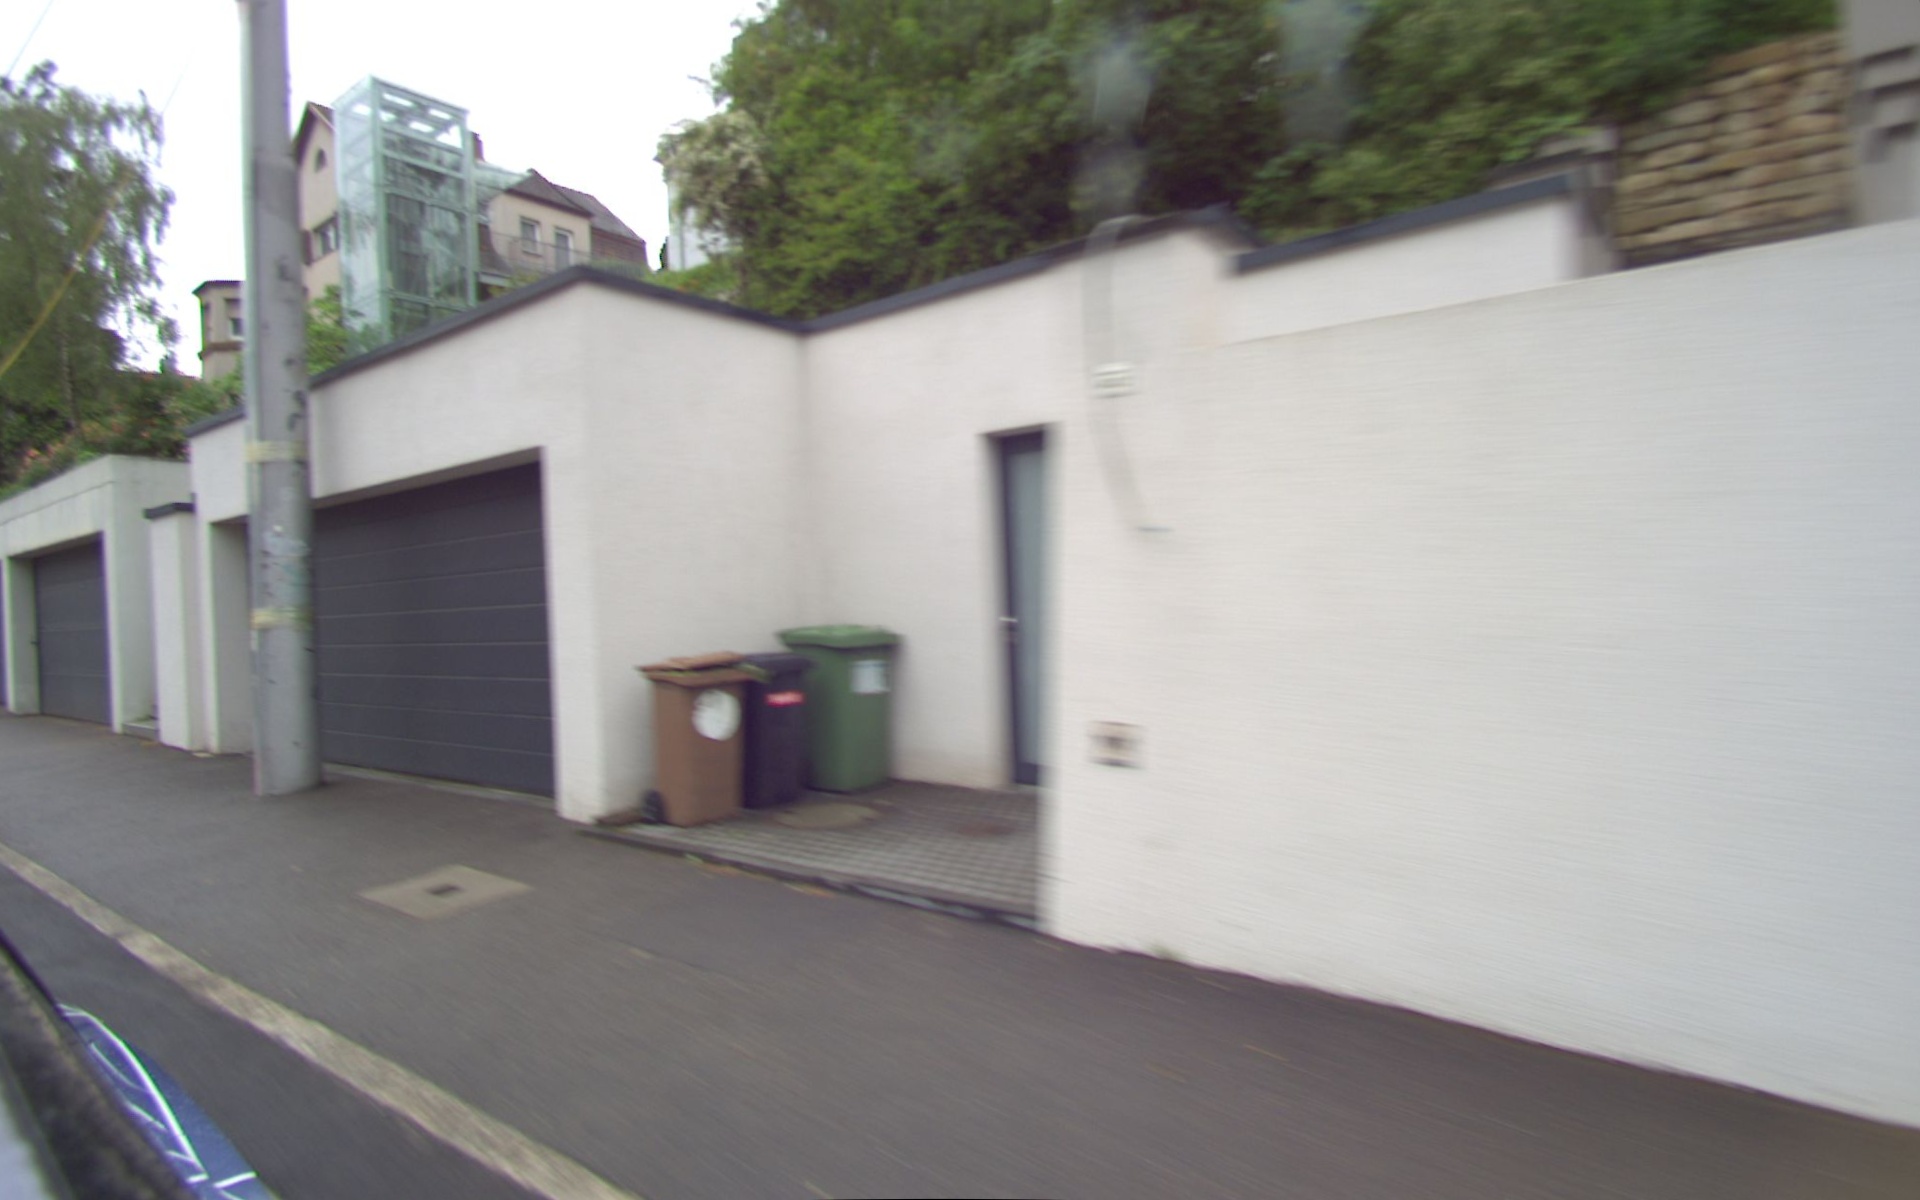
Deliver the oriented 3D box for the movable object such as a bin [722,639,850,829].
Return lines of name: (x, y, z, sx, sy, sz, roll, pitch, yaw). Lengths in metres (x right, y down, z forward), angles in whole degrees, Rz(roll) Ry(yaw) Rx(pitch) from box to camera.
movable object such as a bin: (-1.037, 0.771, 6.047, 0.522, 1.029, 0.499, -1, 1, 37)

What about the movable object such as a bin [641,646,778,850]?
movable object such as a bin: (-1.400, 0.792, 5.669, 0.522, 1.029, 0.499, -1, 1, 37)

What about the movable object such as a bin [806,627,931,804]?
movable object such as a bin: (-0.580, 0.704, 6.451, 0.586, 1.029, 0.499, -1, 1, 37)
